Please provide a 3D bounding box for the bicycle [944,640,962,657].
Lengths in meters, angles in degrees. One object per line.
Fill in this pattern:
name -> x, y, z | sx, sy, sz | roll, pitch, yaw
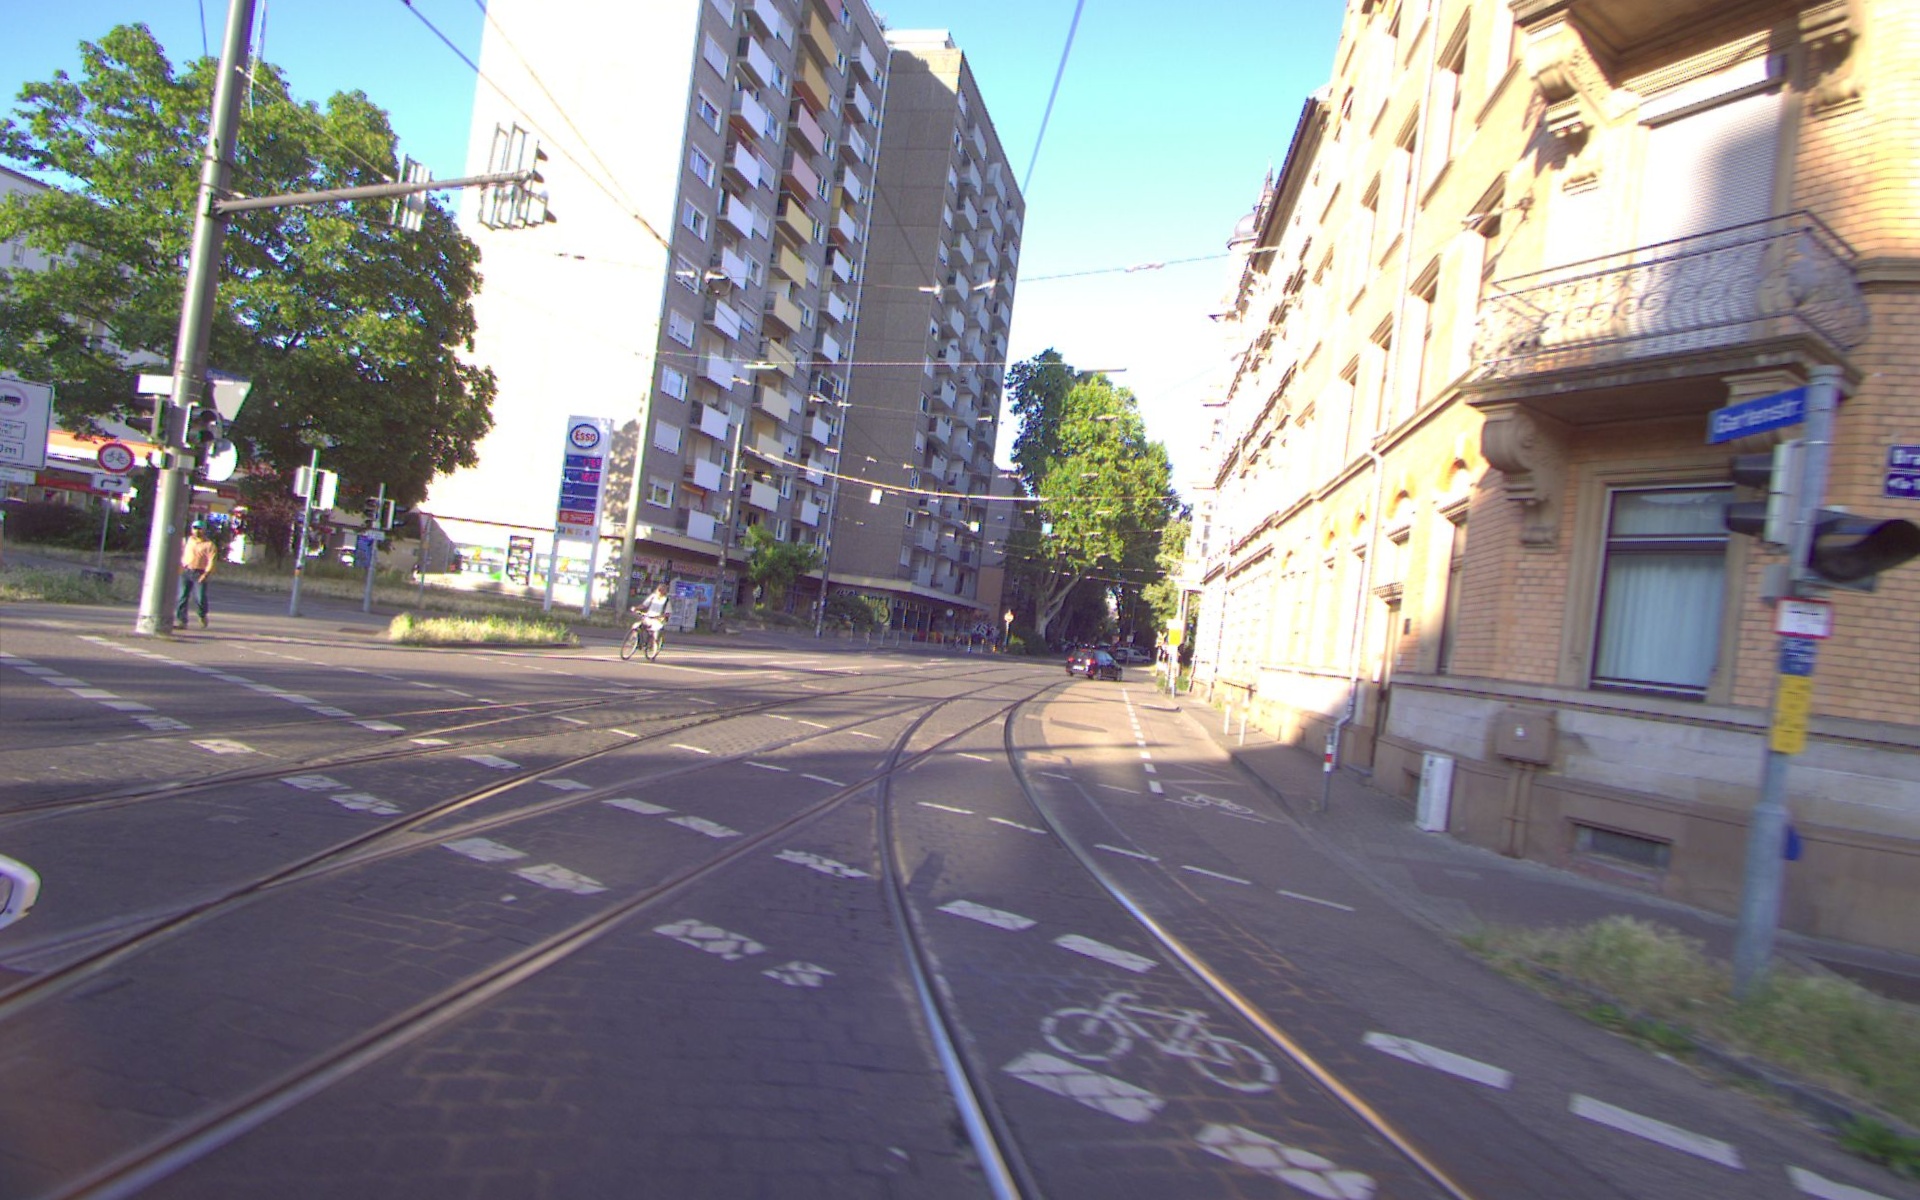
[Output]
bicycle -> -0.491, 3.348, 69.353 | 0.549, 0.992, 1.725 | 7, -4, 21

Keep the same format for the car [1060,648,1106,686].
car -> 6.278, 3.371, 50.942 | 1.788, 1.636, 4.005 | 7, -2, 12

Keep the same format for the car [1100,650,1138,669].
car -> 16.857, 6.278, 106.714 | 3.516, 1.476, 1.831 | 7, -1, -2

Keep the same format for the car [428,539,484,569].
car -> -45.554, -4.137, 90.959 | 3.924, 2.037, 2.002 | 7, -1, 14

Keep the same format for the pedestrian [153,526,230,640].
pedestrian -> -11.860, -0.258, 15.534 | 0.687, 1.648, 0.553 | 7, -1, 28

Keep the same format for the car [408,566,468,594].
car -> -35.318, -1.368, 68.066 | 3.373, 1.397, 1.576 | 7, -1, 17

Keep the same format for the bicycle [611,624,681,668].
bicycle -> -6.798, 1.004, 21.875 | 0.610, 0.838, 1.818 | 7, -2, 10

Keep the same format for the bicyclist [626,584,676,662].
bicyclist -> -6.726, 0.510, 21.922 | 0.625, 1.602, 0.696 | 7, -1, 10

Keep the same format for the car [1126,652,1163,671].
car -> 21.473, 7.180, 117.092 | 3.924, 1.636, 1.826 | 7, -1, 11
